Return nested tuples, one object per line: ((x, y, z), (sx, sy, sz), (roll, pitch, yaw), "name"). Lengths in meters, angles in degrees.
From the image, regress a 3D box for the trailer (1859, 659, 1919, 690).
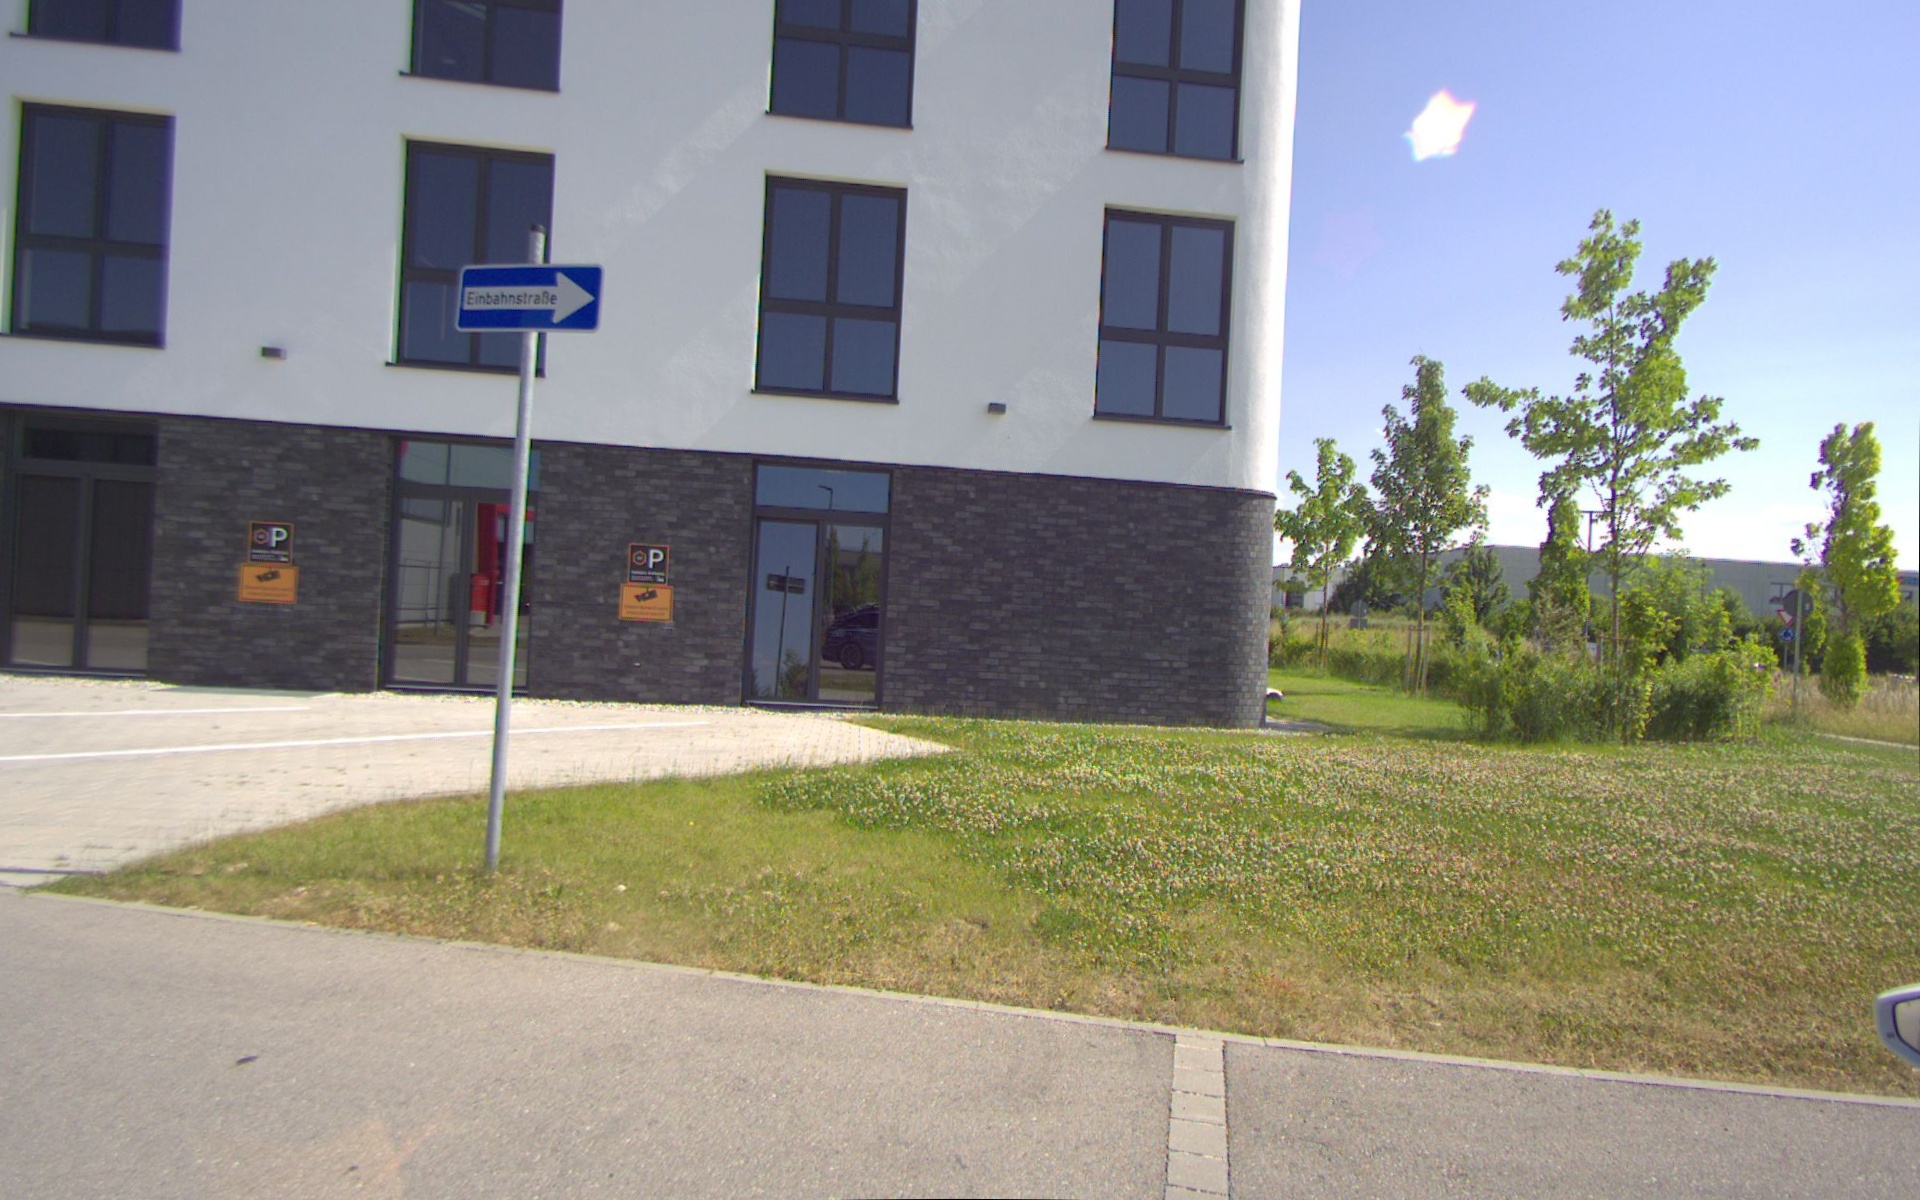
((65.223, 5.199, 69.964), (3.929, 1.884, 1.825), (4, 0, -10), "trailer")

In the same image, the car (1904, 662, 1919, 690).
((69.030, 5.445, 70.583), (3.929, 1.884, 1.825), (4, 0, -10), "car")
